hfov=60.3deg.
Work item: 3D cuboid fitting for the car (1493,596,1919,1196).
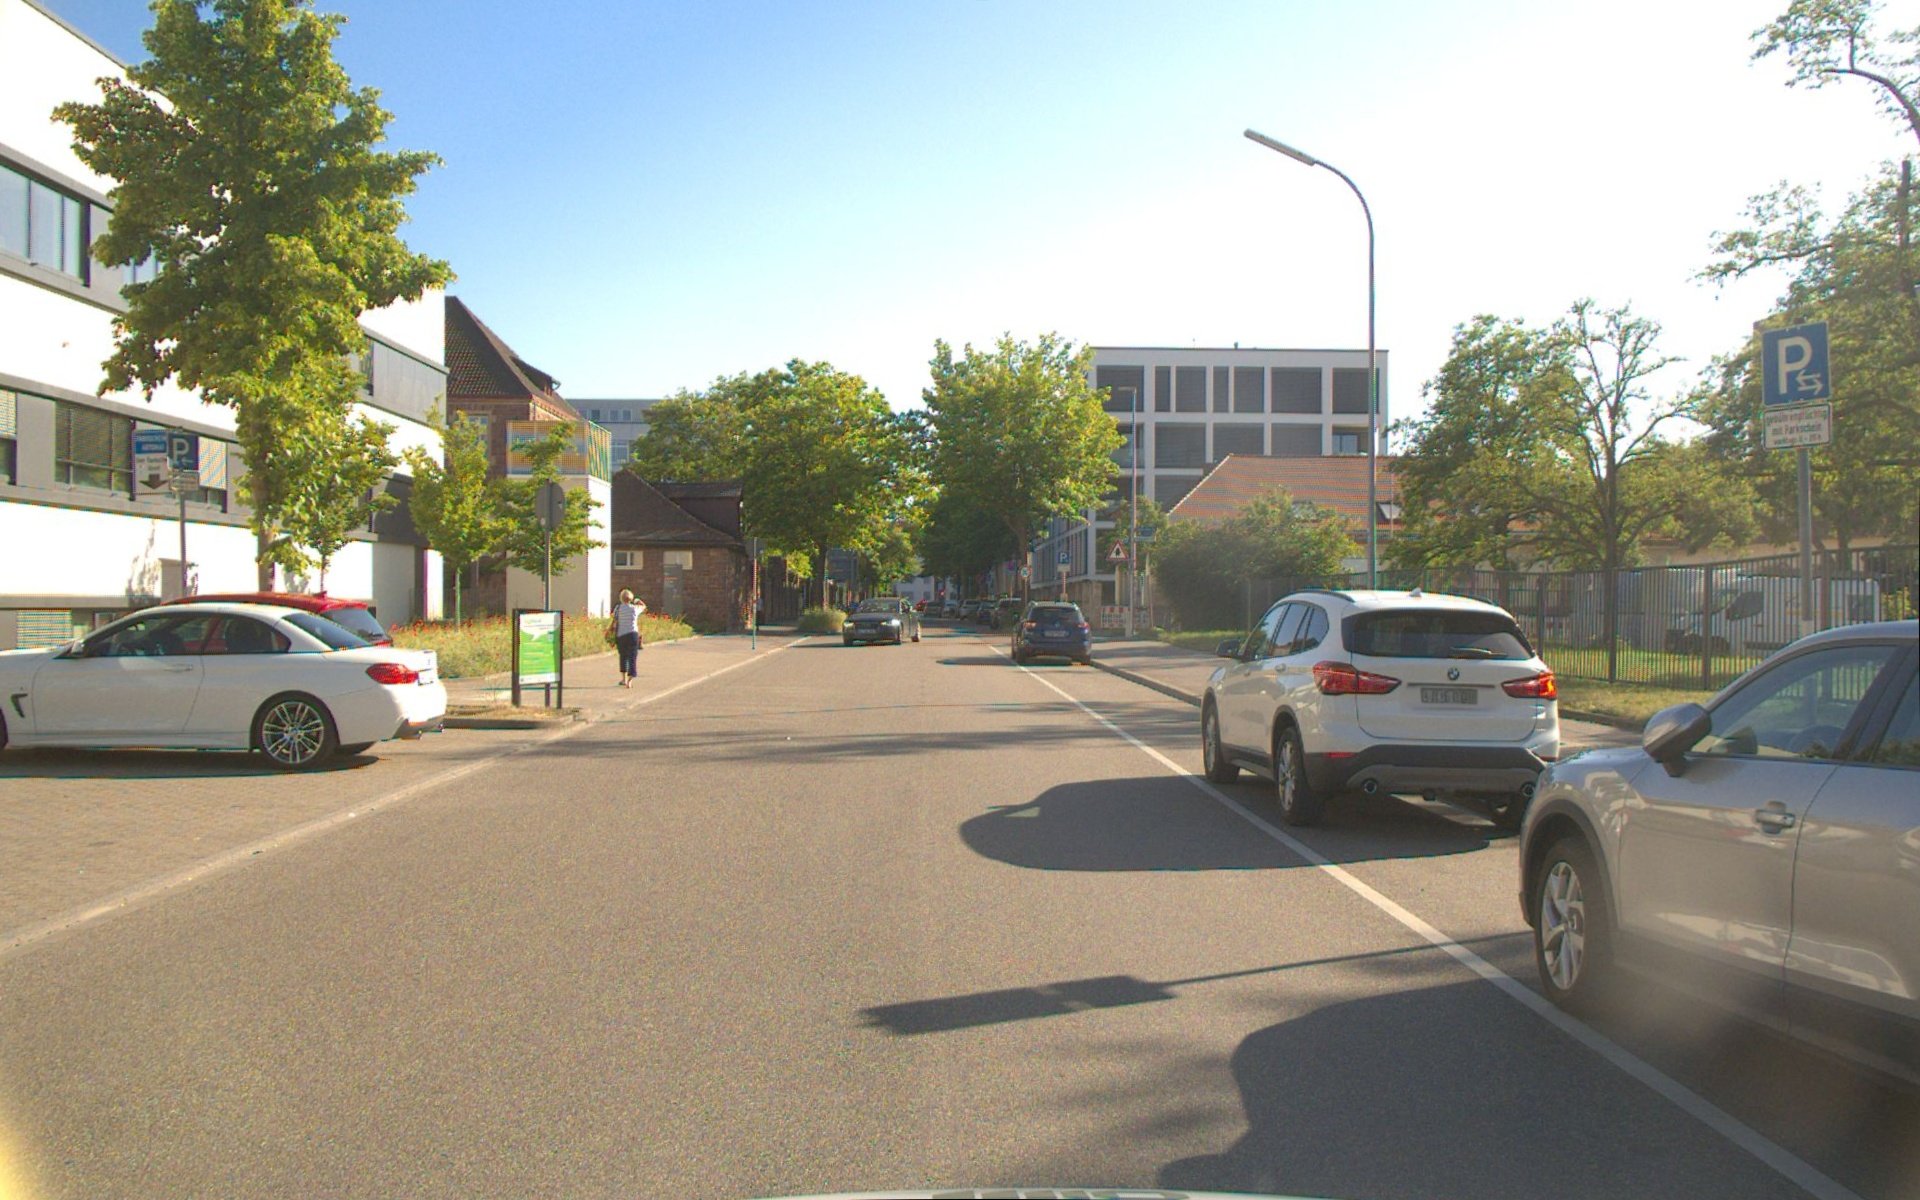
[{"bbox_3d":[3.234,0.778,5.050,1.667,1.513,3.977,2,0,-4],"label":"car"}]

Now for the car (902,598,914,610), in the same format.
[{"bbox_3d":[-7.226,0.529,228.132,1.620,1.557,3.999,0,0,-2],"label":"car"}]

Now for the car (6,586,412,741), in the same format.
[{"bbox_3d":[-7.925,0.644,17.691,3.562,1.495,1.613,1,0,-3],"label":"car"}]

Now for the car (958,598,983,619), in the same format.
[{"bbox_3d":[0.784,0.640,130.402,1.911,1.606,3.836,0,0,-1],"label":"car"}]

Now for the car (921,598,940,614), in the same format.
[{"bbox_3d":[-2.823,0.563,158.218,1.851,1.424,3.836,0,0,-1],"label":"car"}]

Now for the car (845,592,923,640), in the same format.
[{"bbox_3d":[-2.394,0.498,53.368,1.724,1.467,4.541,0,0,8],"label":"car"}]

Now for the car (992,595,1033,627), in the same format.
[{"bbox_3d":[2.511,0.501,80.282,1.669,1.494,4.787,1,0,-2],"label":"car"}]

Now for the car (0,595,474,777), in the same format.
[{"bbox_3d":[-6.869,0.749,15.008,4.425,1.391,1.697,3,0,-7],"label":"car"}]

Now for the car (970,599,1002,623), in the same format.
[{"bbox_3d":[1.564,0.672,101.505,1.731,1.465,3.998,0,0,-3],"label":"car"}]

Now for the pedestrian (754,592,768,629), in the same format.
[{"bbox_3d":[-8.499,0.448,70.689,0.511,1.590,1.095,0,0,-2],"label":"pedestrian"}]

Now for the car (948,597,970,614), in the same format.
[{"bbox_3d":[-0.086,0.483,146.541,1.953,1.491,3.836,0,0,-1],"label":"car"}]

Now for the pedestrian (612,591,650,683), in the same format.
[{"bbox_3d":[-5.637,0.624,28.343,0.527,1.550,0.607,0,0,-1],"label":"pedestrian"}]

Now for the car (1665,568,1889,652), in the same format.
[{"bbox_3d":[22.489,0.256,45.681,5.173,2.240,2.001,0,1,4],"label":"car"}]

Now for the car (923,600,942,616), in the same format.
[{"bbox_3d":[-2.630,0.771,158.377,1.731,1.575,4.064,0,0,-3],"label":"car"}]

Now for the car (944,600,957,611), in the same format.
[{"bbox_3d":[-1.212,0.724,211.570,1.553,1.424,3.836,0,0,-1],"label":"car"}]

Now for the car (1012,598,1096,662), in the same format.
[{"bbox_3d":[2.265,0.696,40.631,1.780,1.478,4.213,0,0,-1],"label":"car"}]

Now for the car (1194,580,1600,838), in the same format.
[{"bbox_3d":[3.118,0.692,12.763,1.777,1.616,4.259,2,0,-3],"label":"car"}]
